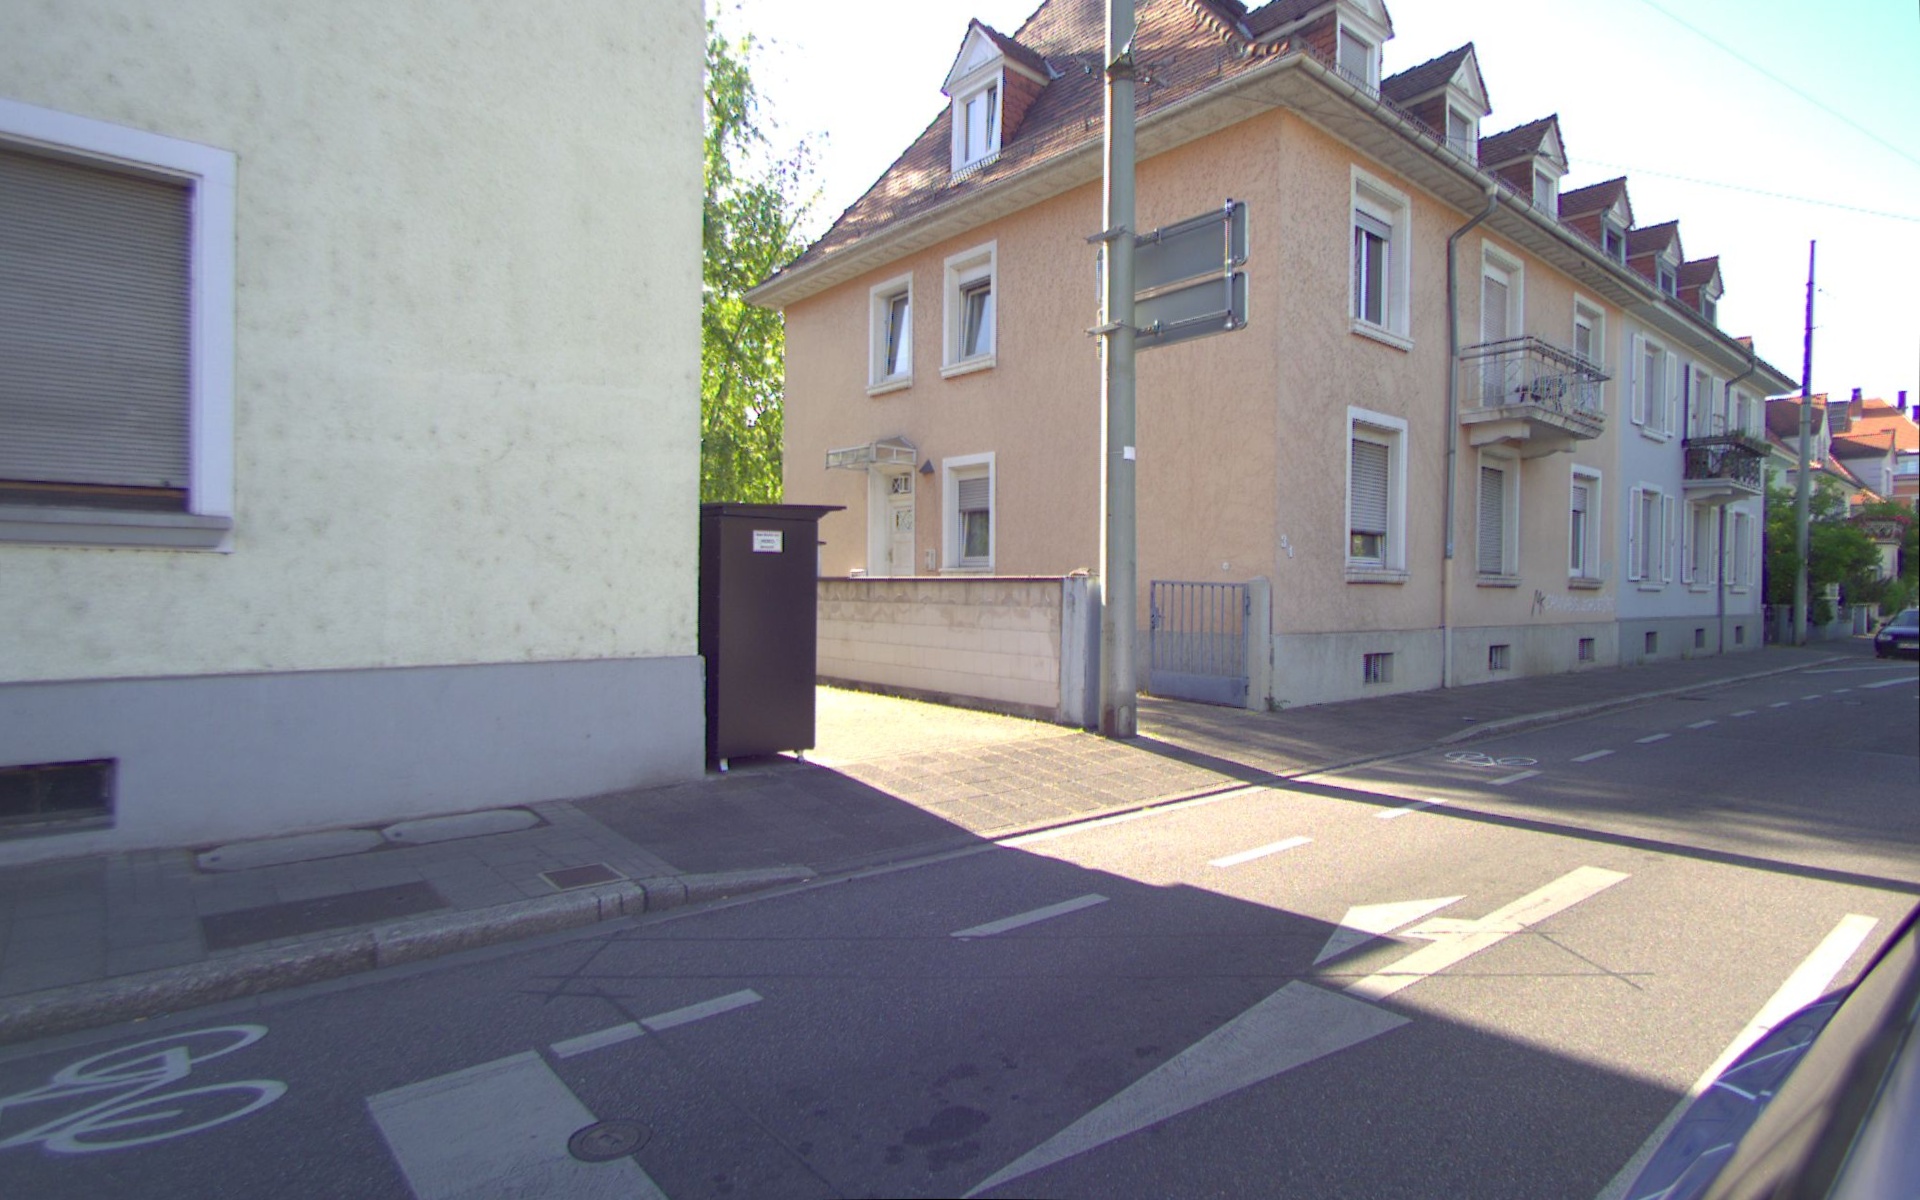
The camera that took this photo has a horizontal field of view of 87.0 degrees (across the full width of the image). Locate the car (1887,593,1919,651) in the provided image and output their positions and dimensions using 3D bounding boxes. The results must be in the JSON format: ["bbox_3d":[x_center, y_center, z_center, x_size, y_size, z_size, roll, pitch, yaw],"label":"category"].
[{"bbox_3d":[26.832,0.588,27.371,3.925,1.504,1.883,0,1,-37],"label":"car"}]
